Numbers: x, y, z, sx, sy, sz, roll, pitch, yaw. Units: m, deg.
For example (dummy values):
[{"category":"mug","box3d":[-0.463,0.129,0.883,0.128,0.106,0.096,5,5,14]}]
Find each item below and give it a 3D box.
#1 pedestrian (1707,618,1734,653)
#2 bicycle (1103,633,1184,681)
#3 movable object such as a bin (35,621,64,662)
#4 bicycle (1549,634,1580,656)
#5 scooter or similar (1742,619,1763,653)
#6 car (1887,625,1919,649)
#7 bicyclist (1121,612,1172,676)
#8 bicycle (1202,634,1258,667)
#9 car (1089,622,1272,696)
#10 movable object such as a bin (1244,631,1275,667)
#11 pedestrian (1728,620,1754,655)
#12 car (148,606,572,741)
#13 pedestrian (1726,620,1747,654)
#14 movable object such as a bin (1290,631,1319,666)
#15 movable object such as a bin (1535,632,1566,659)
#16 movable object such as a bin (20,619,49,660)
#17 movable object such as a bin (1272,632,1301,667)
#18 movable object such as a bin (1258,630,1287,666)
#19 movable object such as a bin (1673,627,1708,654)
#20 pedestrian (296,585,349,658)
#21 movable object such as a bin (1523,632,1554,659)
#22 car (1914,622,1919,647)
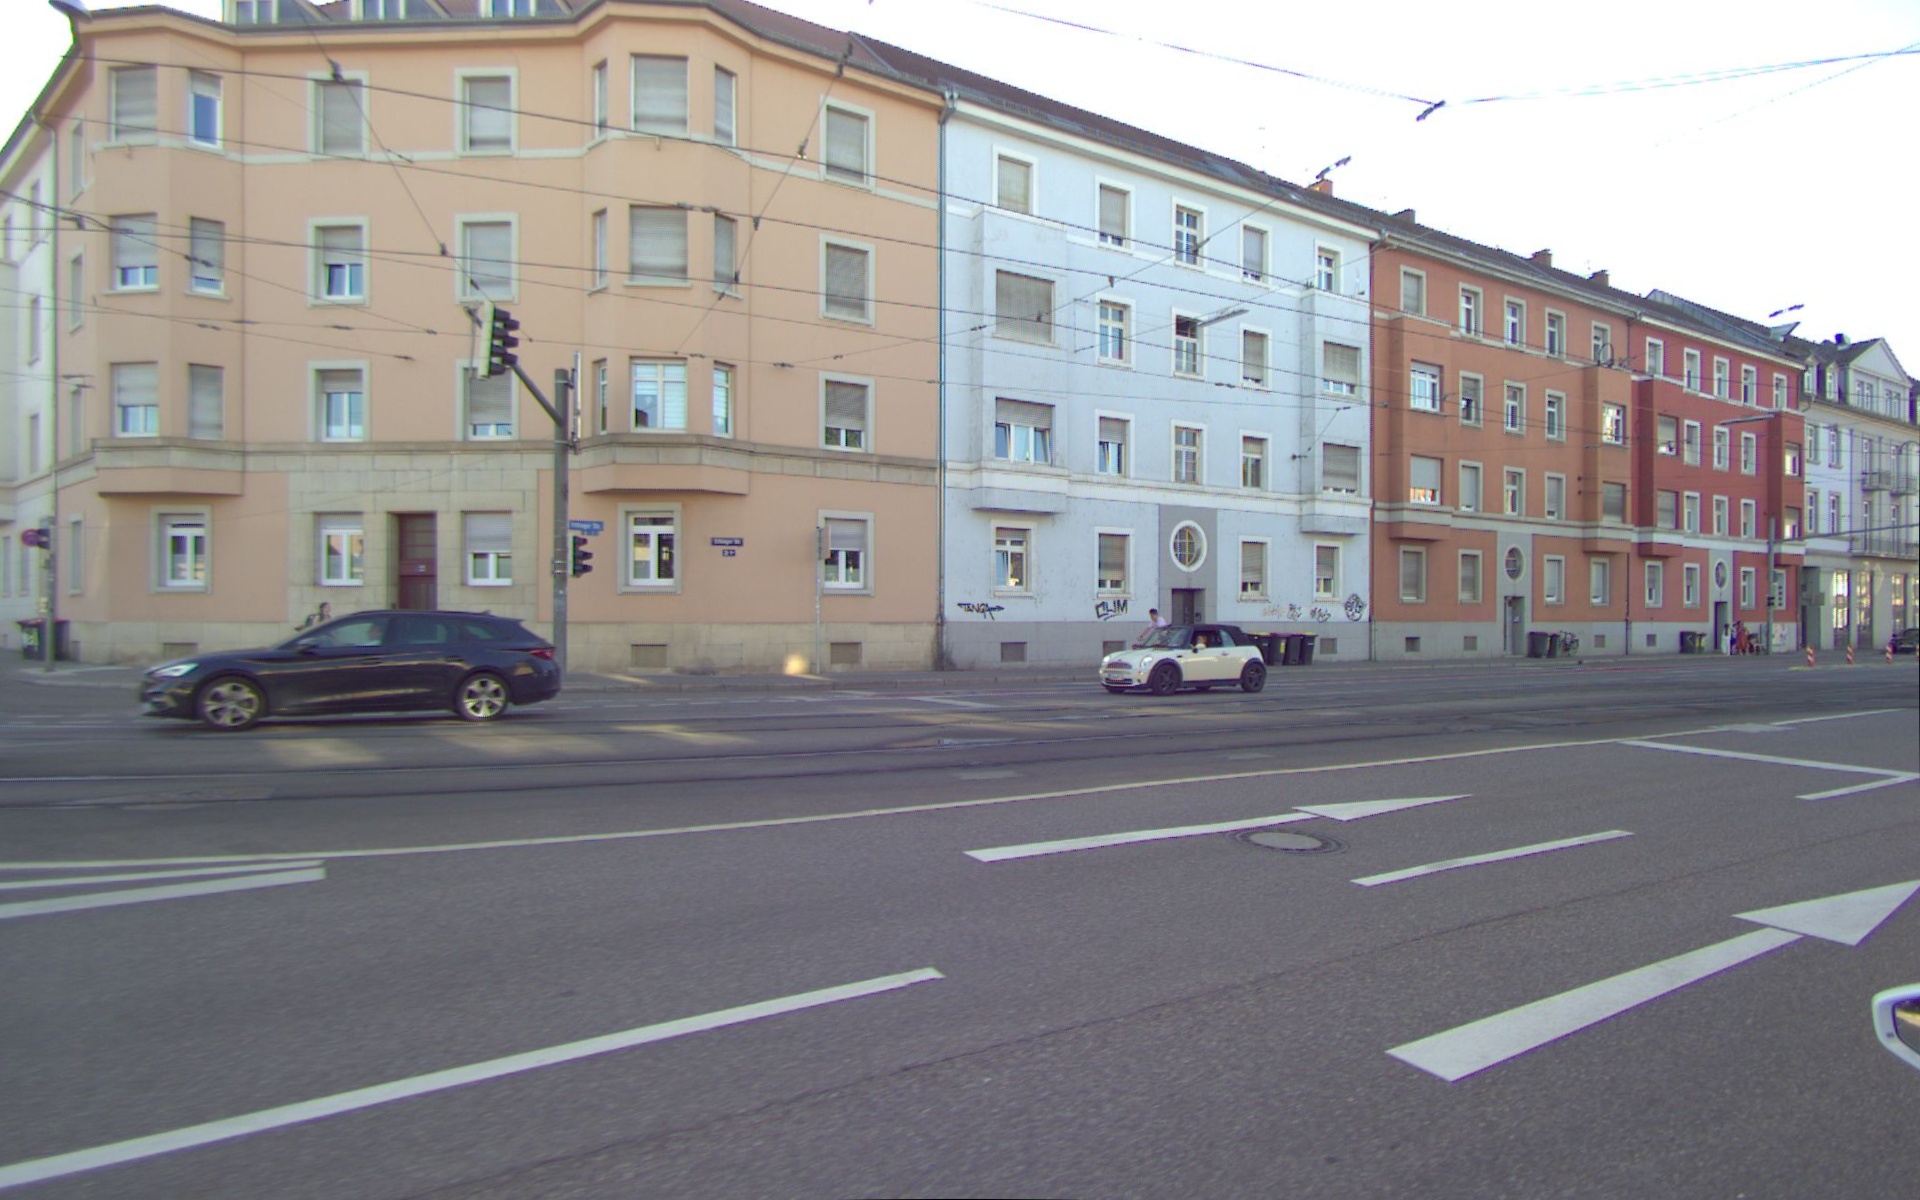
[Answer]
[{"category":"pedestrian","box3d":[36.768,1.724,48.562,0.643,1.655,0.793,0,0,-12]},{"category":"bicycle","box3d":[4.841,1.482,26.436,2.127,1.206,0.743,1,-1,-31]},{"category":"movable object such as a bin","box3d":[-23.803,1.075,26.265,0.443,1.046,0.480,0,-1,38]},{"category":"bicycle","box3d":[25.260,1.884,41.963,1.583,0.902,0.333,1,-1,-27]},{"category":"scooter or similar","box3d":[38.870,1.766,49.256,0.642,1.655,0.794,0,0,27]},{"category":"car","box3d":[52.687,2.010,55.097,3.954,1.249,1.711,1,-1,-31]},{"category":"bicyclist","box3d":[4.929,1.143,26.487,1.113,1.664,0.743,1,-1,-31]},{"category":"bicycle","box3d":[8.525,1.590,31.673,1.855,0.993,0.602,1,0,-31]},{"category":"car","box3d":[4.555,1.153,20.657,3.495,1.393,1.717,1,-1,-32]},{"category":"movable object such as a bin","box3d":[9.661,1.579,32.396,0.641,1.121,0.698,1,0,-31]},{"category":"pedestrian","box3d":[37.678,1.800,48.473,0.815,1.655,0.795,0,0,22]},{"category":"car","box3d":[-7.600,0.839,13.064,4.454,1.474,1.909,1,-1,-36]},{"category":"pedestrian","box3d":[38.083,1.790,49.273,0.642,1.655,0.794,0,0,27]},{"category":"movable object such as a bin","box3d":[11.435,1.596,33.328,0.576,1.121,0.698,1,0,-31]},{"category":"movable object such as a bin","box3d":[24.021,1.837,40.849,0.803,1.054,0.837,1,-1,-35]},{"category":"movable object such as a bin","box3d":[-24.639,1.046,26.739,0.443,1.080,0.480,0,-1,38]},{"category":"movable object such as a bin","box3d":[10.739,1.608,33.045,0.576,1.121,0.698,1,0,-31]},{"category":"movable object such as a bin","box3d":[10.187,1.561,32.748,0.576,1.121,0.699,1,0,-30]},{"category":"movable object such as a bin","box3d":[34.421,1.908,47.320,1.216,1.266,0.868,1,-1,-25]},{"category":"pedestrian","box3d":[-14.055,0.474,22.152,0.706,1.584,0.677,0,-1,4]},{"category":"movable object such as a bin","box3d":[23.276,1.828,40.394,0.803,1.054,0.837,1,-1,-35]},{"category":"car","box3d":[57.219,1.989,58.287,3.954,1.471,1.711,1,-1,-31]}]
